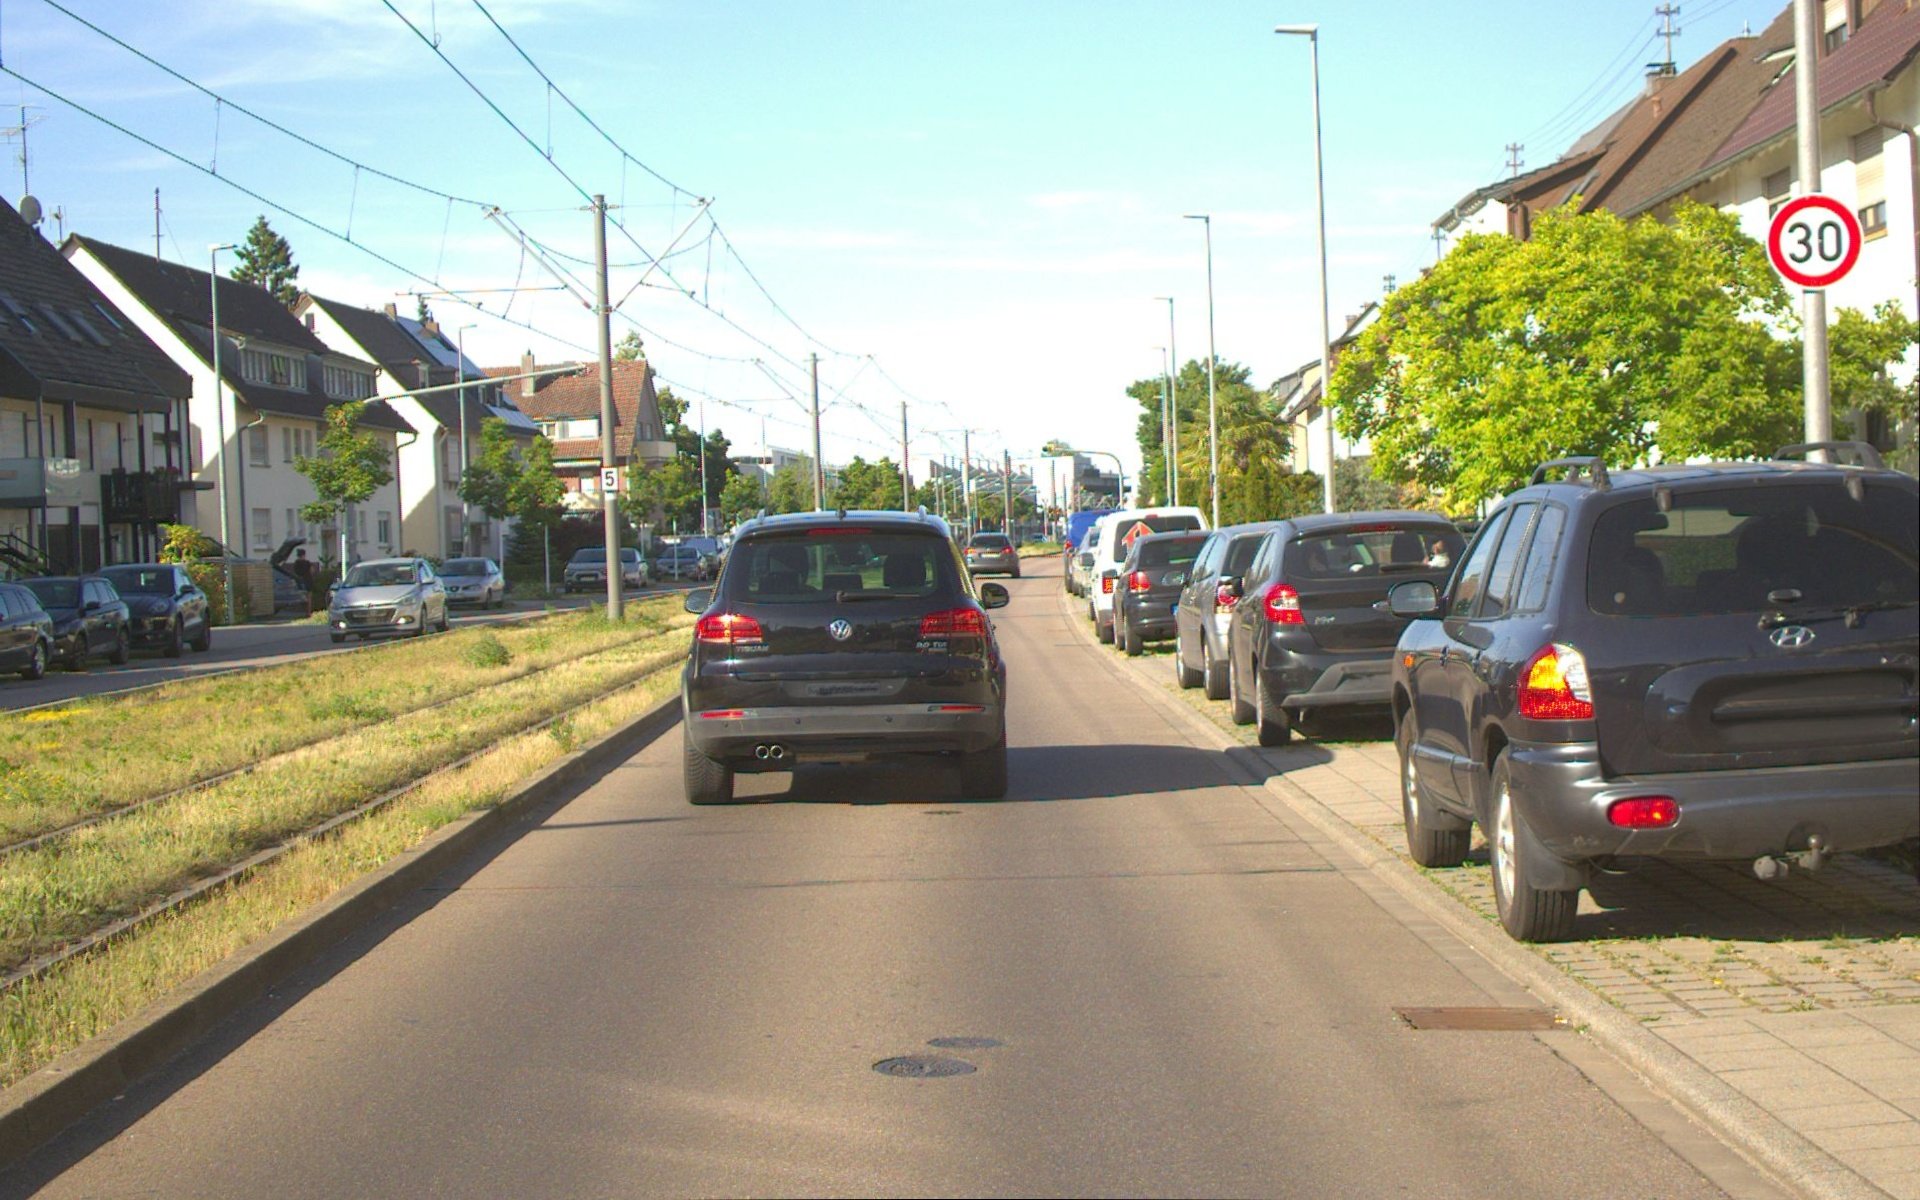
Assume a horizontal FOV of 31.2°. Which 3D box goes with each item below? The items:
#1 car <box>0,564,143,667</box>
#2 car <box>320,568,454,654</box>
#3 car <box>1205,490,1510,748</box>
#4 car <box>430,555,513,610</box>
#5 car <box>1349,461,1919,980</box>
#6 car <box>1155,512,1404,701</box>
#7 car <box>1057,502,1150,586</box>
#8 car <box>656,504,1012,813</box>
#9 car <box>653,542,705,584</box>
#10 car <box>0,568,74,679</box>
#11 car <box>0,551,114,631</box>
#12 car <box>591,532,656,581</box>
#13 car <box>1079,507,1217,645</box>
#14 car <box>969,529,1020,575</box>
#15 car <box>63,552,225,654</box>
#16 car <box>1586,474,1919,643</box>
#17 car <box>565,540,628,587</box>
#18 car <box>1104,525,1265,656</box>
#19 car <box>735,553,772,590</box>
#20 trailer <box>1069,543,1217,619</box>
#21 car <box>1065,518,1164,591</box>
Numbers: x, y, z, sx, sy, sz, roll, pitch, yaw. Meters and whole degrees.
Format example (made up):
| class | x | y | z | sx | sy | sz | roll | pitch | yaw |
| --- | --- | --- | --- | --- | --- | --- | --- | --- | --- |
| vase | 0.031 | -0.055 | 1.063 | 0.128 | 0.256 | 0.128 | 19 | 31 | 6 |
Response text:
| class | x | y | z | sx | sy | sz | roll | pitch | yaw |
| --- | --- | --- | --- | --- | --- | --- | --- | --- | --- |
| car | -14.227 | 0.222 | 54.275 | 1.520 | 1.470 | 4.201 | -2 | 1 | 1 |
| car | -10.675 | 0.208 | 64.280 | 1.708 | 1.485 | 4.024 | -2 | -1 | 1 |
| car | 2.702 | 0.083 | 24.099 | 1.666 | 1.542 | 3.835 | -4 | 1 | 1 |
| car | -13.341 | -0.462 | 93.961 | 1.619 | 1.404 | 3.717 | -2 | -1 | 1 |
| car | 2.763 | 0.339 | 13.559 | 1.854 | 1.653 | 4.474 | -2 | 1 | 0 |
| car | 2.723 | 0.025 | 30.146 | 1.615 | 1.470 | 4.450 | -2 | 1 | -1 |
| car | 3.362 | -1.336 | 81.443 | 1.993 | 1.855 | 4.917 | -2 | 1 | 1 |
| car | -0.866 | 0.294 | 20.862 | 1.811 | 1.665 | 4.258 | -1 | 1 | -7 |
| car | -11.379 | -1.482 | 139.435 | 1.660 | 1.575 | 4.000 | -2 | -1 | 1 |
| car | -14.311 | 0.349 | 48.899 | 1.877 | 1.517 | 4.880 | -1 | 1 | 3 |
| car | -20.460 | -0.164 | 73.772 | 4.165 | 1.611 | 1.760 | -2 | 1 | -3 |
| car | -12.049 | -1.563 | 123.233 | 1.803 | 1.626 | 4.000 | -2 | 1 | 1 |
| car | 2.589 | -0.372 | 48.115 | 1.690 | 1.770 | 4.656 | -2 | 1 | 1 |
| car | 1.118 | -1.555 | 110.807 | 1.572 | 1.386 | 3.614 | -2 | 1 | 1 |
| car | -14.140 | 0.009 | 59.793 | 1.802 | 1.591 | 4.813 | -2 | 1 | -2 |
| car | 8.124 | -0.408 | 31.993 | 1.993 | 1.440 | 4.883 | -4 | 1 | -25 |
| car | -12.365 | -1.267 | 117.083 | 1.659 | 1.491 | 3.579 | -3 | 1 | 1 |
| car | 2.685 | -0.144 | 41.936 | 1.671 | 1.448 | 4.126 | -3 | 1 | 1 |
| car | -9.731 | -1.351 | 162.191 | 1.465 | 1.671 | 3.287 | -2 | 0 | 1 |
| trailer | 3.055 | -0.340 | 58.235 | 2.204 | 1.090 | 4.372 | -4 | 1 | 0 |
| car | 3.340 | -1.013 | 75.074 | 1.786 | 1.436 | 4.460 | -4 | 1 | -1 |
